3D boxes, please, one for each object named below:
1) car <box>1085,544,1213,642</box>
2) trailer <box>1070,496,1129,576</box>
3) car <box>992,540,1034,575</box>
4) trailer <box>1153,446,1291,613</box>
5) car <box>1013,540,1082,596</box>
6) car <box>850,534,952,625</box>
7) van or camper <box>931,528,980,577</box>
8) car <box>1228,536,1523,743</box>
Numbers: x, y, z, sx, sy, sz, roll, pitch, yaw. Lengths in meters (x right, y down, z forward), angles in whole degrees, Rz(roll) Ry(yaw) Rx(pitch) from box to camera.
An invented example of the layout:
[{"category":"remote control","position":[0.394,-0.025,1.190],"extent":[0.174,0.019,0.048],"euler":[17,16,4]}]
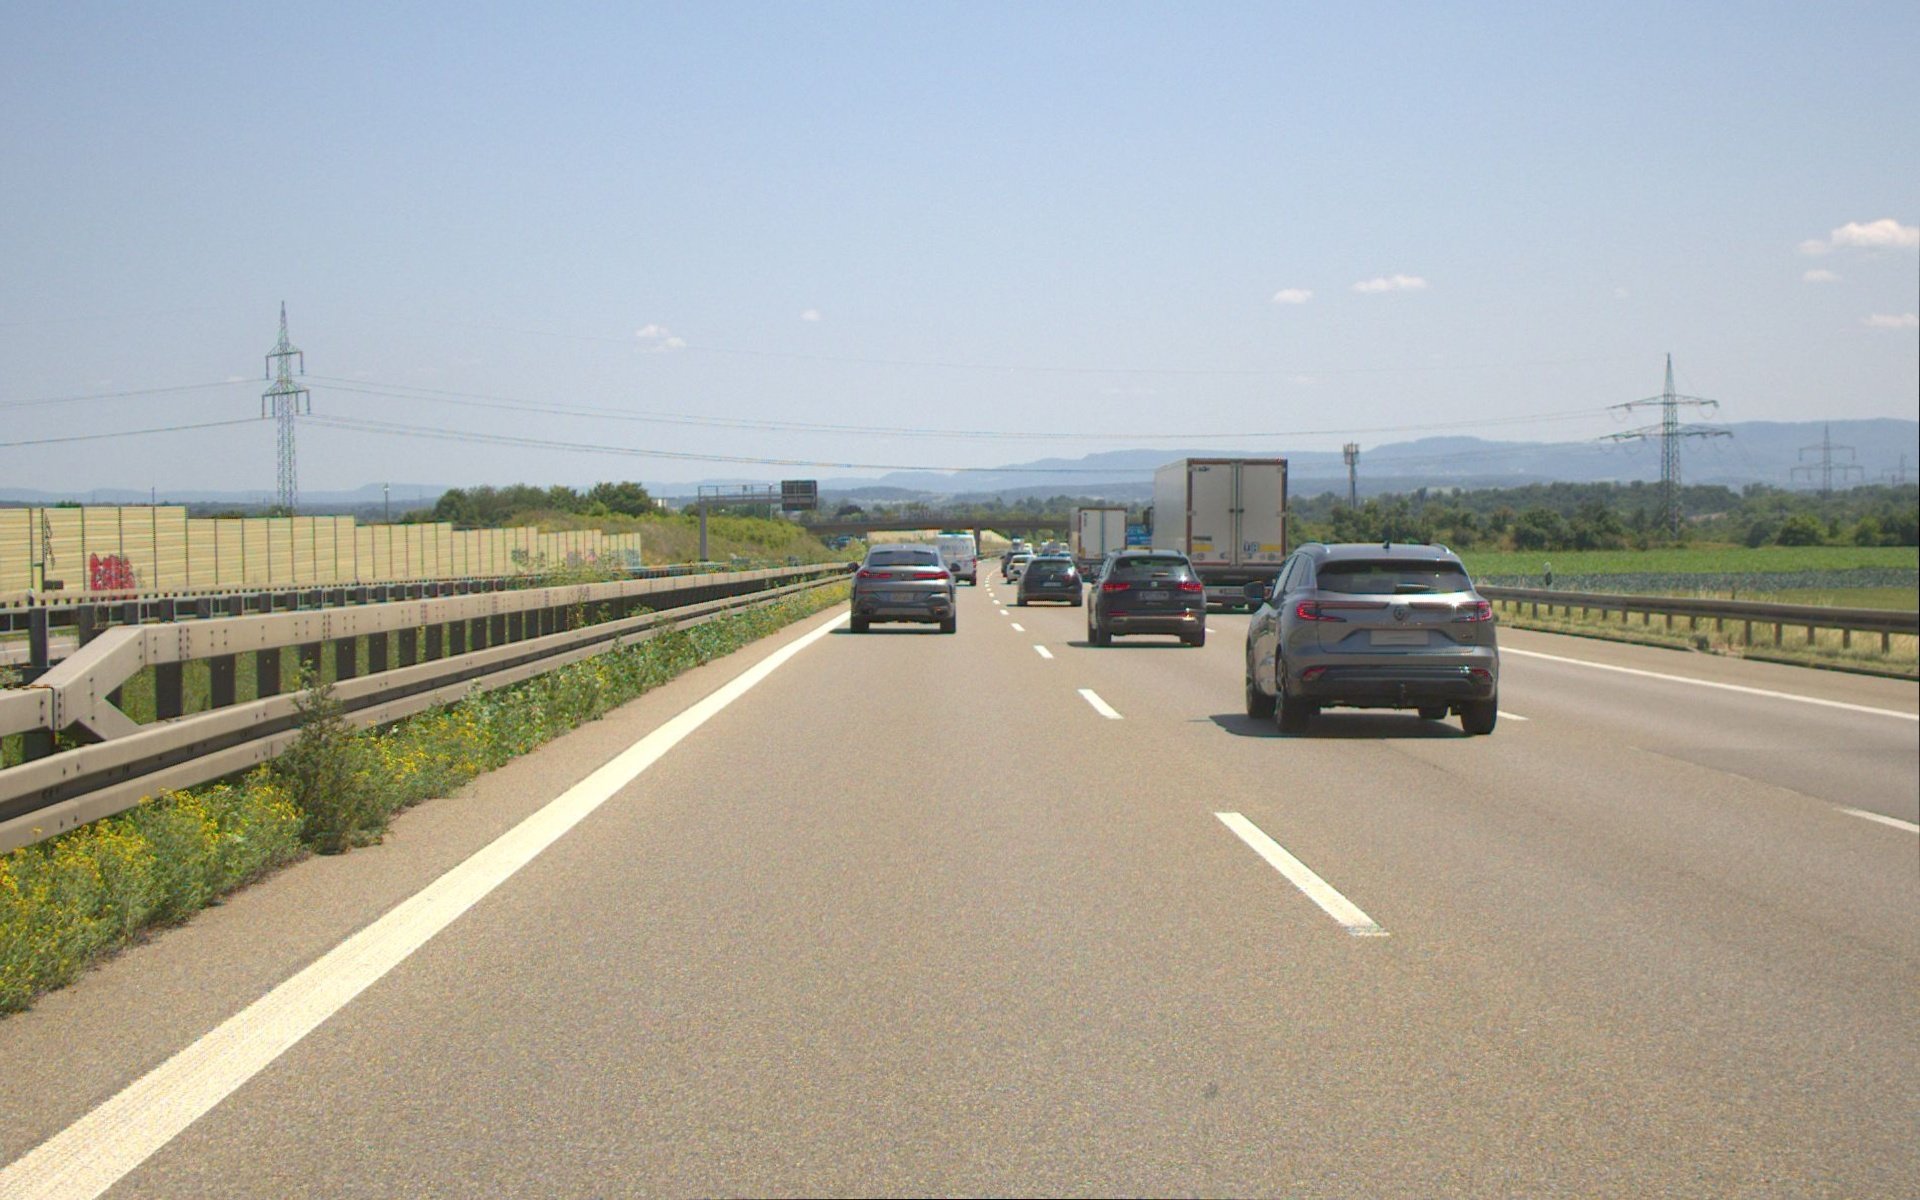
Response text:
[{"category":"car","position":[3.106,-0.132,57.204],"extent":[1.796,1.556,3.824],"euler":[1,1,-2]},{"category":"trailer","position":[7.540,-3.433,187.067],"extent":[2.943,4.184,13.596],"euler":[1,1,1]},{"category":"car","position":[2.597,-2.057,167.354],"extent":[1.993,1.677,4.000],"euler":[1,1,1]},{"category":"trailer","position":[7.057,-1.865,94.261],"extent":[2.868,4.205,13.294],"euler":[1,1,1]},{"category":"car","position":[2.515,-0.927,99.733],"extent":[1.933,1.569,4.934],"euler":[1,1,1]},{"category":"car","position":[-1.139,-0.393,65.303],"extent":[1.851,1.658,3.735],"euler":[1,1,-2]},{"category":"van or camper","position":[-0.178,-2.209,159.138],"extent":[2.111,2.204,5.265],"euler":[1,1,1]},{"category":"car","position":[3.535,0.299,30.075],"extent":[1.851,1.643,4.645],"euler":[1,0,-2]}]
